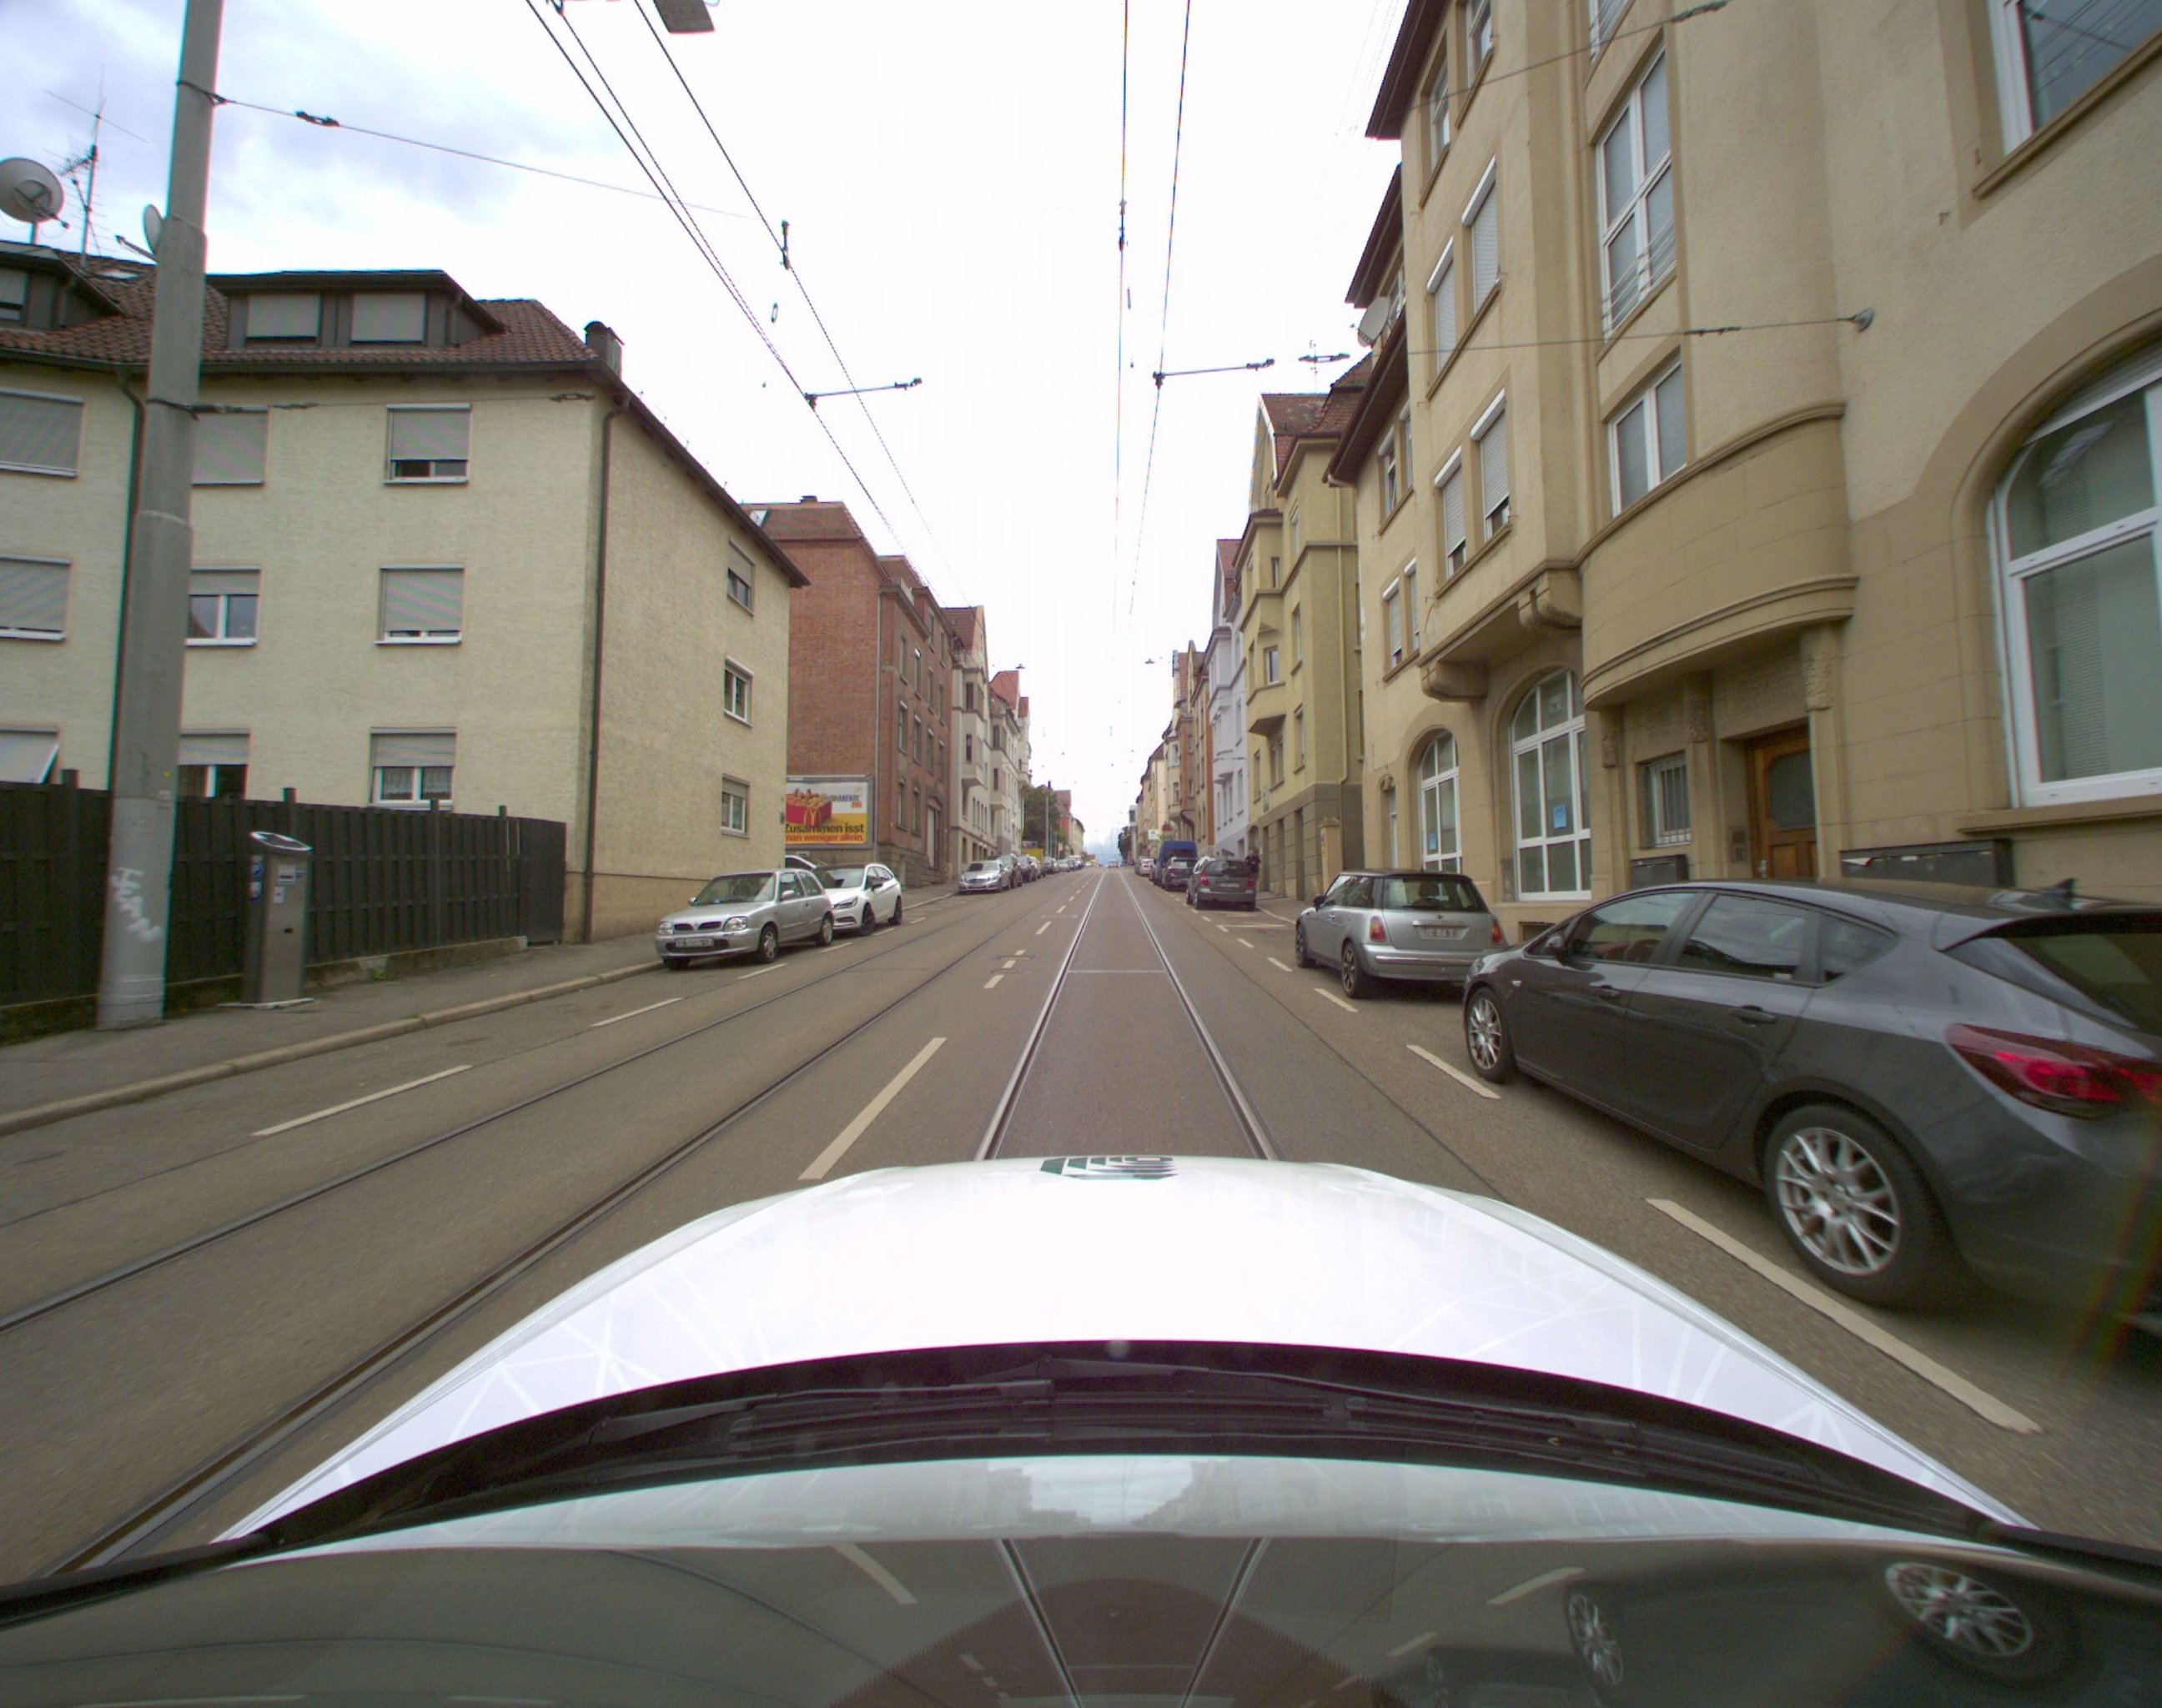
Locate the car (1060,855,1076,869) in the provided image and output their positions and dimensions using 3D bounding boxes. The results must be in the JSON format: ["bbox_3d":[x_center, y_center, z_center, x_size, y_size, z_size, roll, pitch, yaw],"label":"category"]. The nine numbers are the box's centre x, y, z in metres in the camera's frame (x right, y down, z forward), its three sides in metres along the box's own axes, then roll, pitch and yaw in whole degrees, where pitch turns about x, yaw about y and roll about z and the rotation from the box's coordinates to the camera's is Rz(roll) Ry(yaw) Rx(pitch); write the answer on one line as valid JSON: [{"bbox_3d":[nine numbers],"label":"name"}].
[{"bbox_3d":[-1.747,1.091,111.950,1.736,1.736,4.523,-2,-1,4],"label":"car"}]

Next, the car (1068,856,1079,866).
[{"bbox_3d":[-1.195,1.107,130.168,1.691,1.433,4.481,-2,0,1],"label":"car"}]

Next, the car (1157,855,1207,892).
[{"bbox_3d":[4.576,0.866,37.373,1.773,1.530,4.193,3,0,1],"label":"car"}]

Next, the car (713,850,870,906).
[{"bbox_3d":[-10.823,0.864,30.765,5.161,1.818,1.939,-3,0,-2],"label":"car"}]

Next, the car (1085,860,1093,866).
[{"bbox_3d":[2.061,2.301,204.637,1.848,1.607,4.299,0,0,2],"label":"car"}]

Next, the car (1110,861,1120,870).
[{"bbox_3d":[6.209,2.063,148.829,1.666,1.513,3.798,0,0,1],"label":"car"}]

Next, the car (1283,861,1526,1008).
[{"bbox_3d":[3.761,0.833,10.160,1.688,1.404,3.670,2,0,3],"label":"car"}]

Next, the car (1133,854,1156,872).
[{"bbox_3d":[5.925,0.844,76.358,1.729,1.537,4.573,2,0,0],"label":"car"}]

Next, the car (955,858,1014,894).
[{"bbox_3d":[-4.310,0.962,37.074,1.820,1.429,4.842,-3,0,3],"label":"car"}]

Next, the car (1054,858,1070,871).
[{"bbox_3d":[-2.313,1.274,100.352,1.689,1.556,3.853,0,0,4],"label":"car"}]

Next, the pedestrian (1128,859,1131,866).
[{"bbox_3d":[11.072,2.026,186.747,0.787,1.667,0.799,0,-1,4],"label":"pedestrian"}]

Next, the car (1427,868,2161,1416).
[{"bbox_3d":[3.520,0.799,4.192,1.832,1.403,4.169,1,-1,2],"label":"car"}]

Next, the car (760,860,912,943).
[{"bbox_3d":[-5.125,0.922,17.784,1.822,1.429,4.627,-4,0,0],"label":"car"}]

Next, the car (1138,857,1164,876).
[{"bbox_3d":[5.536,0.987,64.816,1.744,1.390,4.308,2,0,1],"label":"car"}]

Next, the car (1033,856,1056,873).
[{"bbox_3d":[-3.199,0.932,72.571,1.690,1.468,3.025,-3,-1,3],"label":"car"}]

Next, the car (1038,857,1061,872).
[{"bbox_3d":[-3.012,1.019,77.892,1.772,1.357,4.295,0,0,3],"label":"car"}]

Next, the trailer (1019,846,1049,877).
[{"bbox_3d":[-3.507,0.531,61.010,1.741,2.155,4.074,-3,0,3],"label":"trailer"}]

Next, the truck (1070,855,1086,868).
[{"bbox_3d":[-0.430,1.263,137.809,2.271,2.188,8.031,0,0,3],"label":"truck"}]

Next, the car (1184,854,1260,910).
[{"bbox_3d":[4.291,0.798,25.301,1.820,1.519,4.030,2,0,3],"label":"car"}]

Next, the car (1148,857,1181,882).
[{"bbox_3d":[5.255,0.958,51.854,1.773,1.475,4.591,2,0,2],"label":"car"}]

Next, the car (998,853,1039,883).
[{"bbox_3d":[-3.828,0.831,50.704,1.866,1.664,4.895,-3,0,3],"label":"car"}]

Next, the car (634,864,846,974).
[{"bbox_3d":[-5.303,0.937,13.260,1.594,1.368,3.810,-4,0,3],"label":"car"}]

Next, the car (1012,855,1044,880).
[{"bbox_3d":[-3.675,0.888,56.845,1.690,1.594,4.271,-3,0,3],"label":"car"}]

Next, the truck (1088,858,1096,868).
[{"bbox_3d":[3.477,2.982,257.896,2.293,3.037,9.037,0,-1,2],"label":"truck"}]

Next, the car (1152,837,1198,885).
[{"bbox_3d":[4.889,0.396,42.930,1.986,2.376,5.058,0,-1,2],"label":"car"}]

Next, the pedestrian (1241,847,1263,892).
[{"bbox_3d":[6.569,0.587,31.285,0.540,1.682,0.515,-4,-3,-7],"label":"pedestrian"}]

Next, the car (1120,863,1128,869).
[{"bbox_3d":[11.760,3.281,222.763,1.985,1.563,4.292,0,0,3],"label":"car"}]

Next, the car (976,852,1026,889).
[{"bbox_3d":[-4.084,0.818,42.487,1.820,1.718,4.916,-3,0,3],"label":"car"}]
